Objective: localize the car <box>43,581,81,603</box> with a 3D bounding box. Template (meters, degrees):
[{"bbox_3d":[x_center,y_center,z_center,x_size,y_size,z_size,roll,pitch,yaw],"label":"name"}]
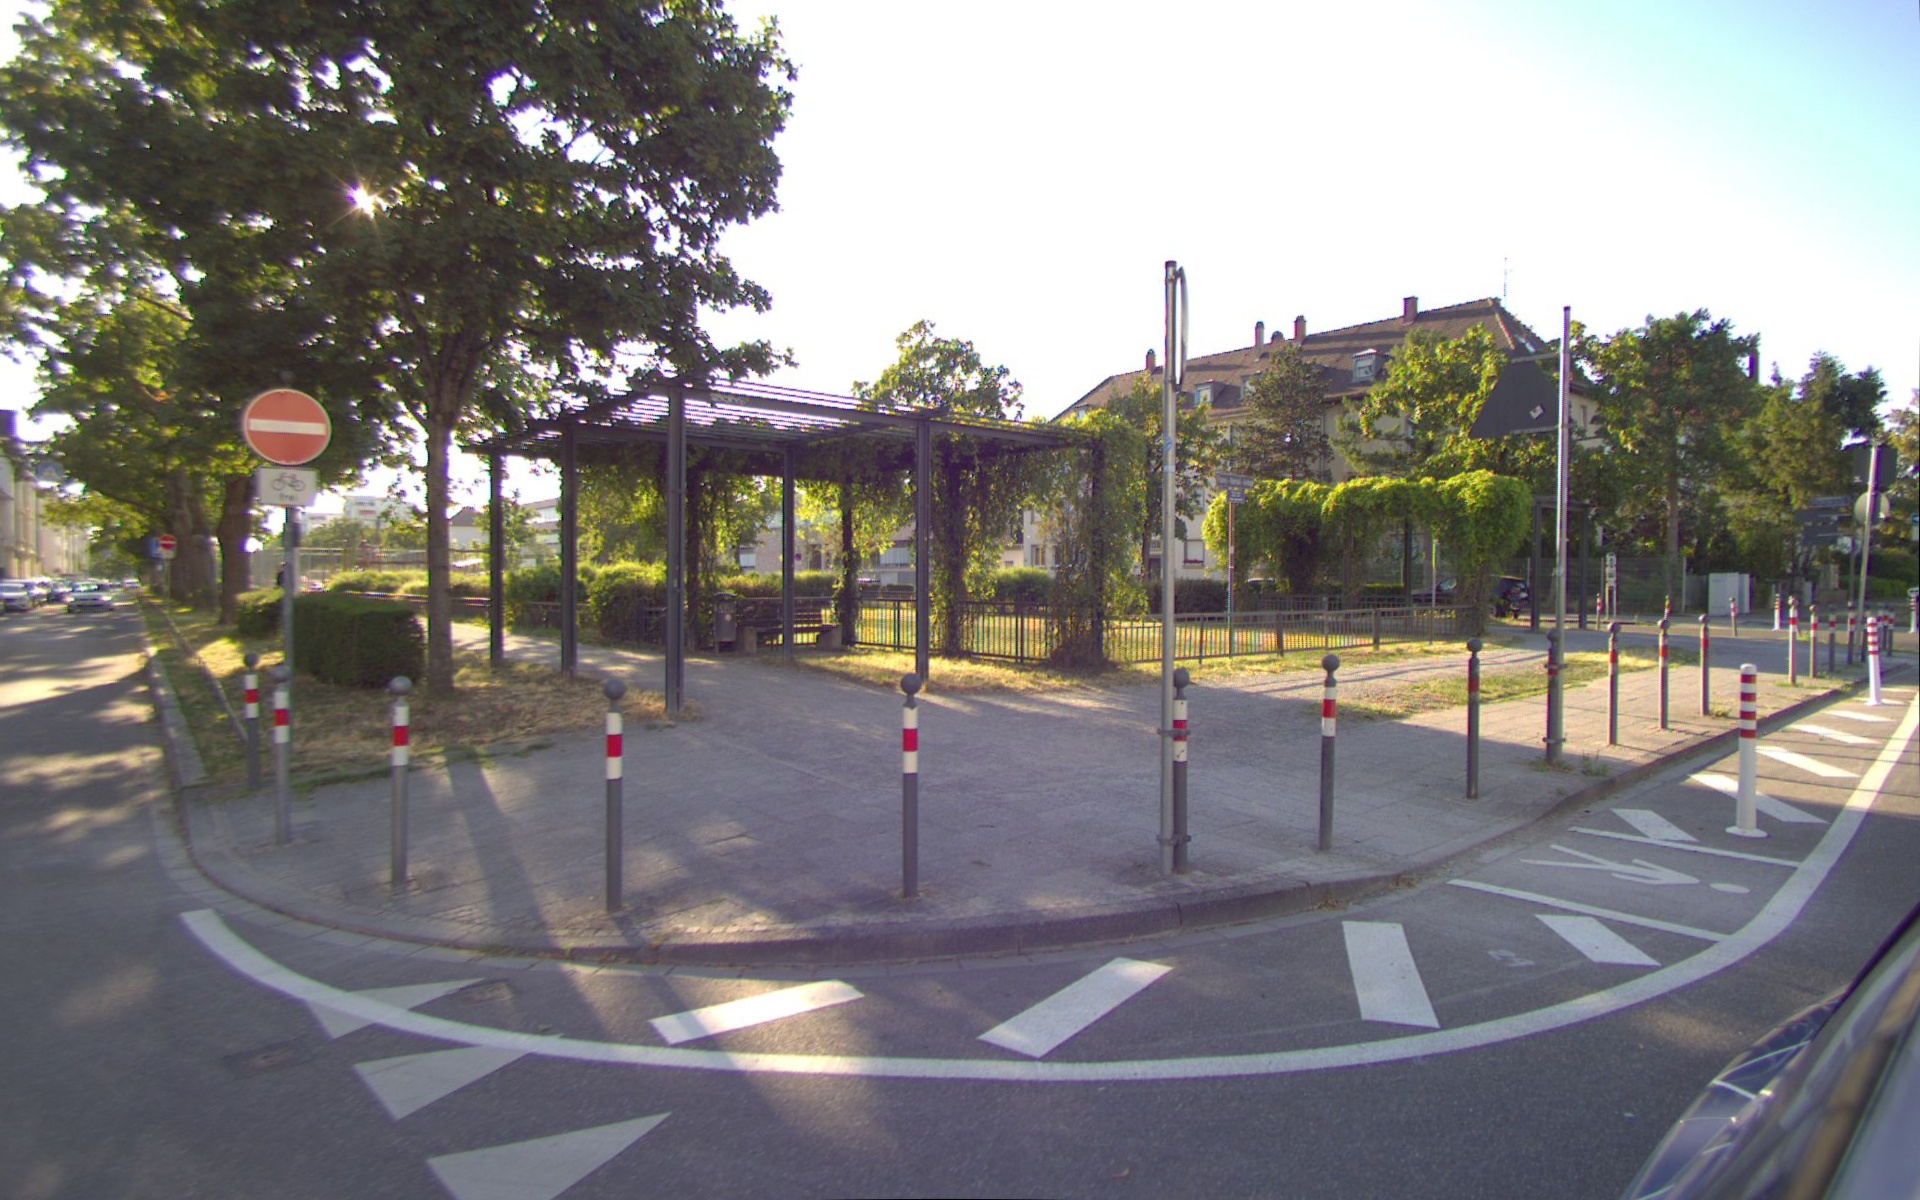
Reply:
[{"bbox_3d":[-63.129,-0.586,71.181,1.798,1.535,3.750,-1,2,-39],"label":"car"}]

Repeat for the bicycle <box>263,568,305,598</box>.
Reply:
[{"bbox_3d":[-29.162,-0.749,43.604,3.099,1.237,0.874,1,1,44],"label":"bicycle"}]

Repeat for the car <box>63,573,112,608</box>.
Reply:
[{"bbox_3d":[-42.811,-0.494,49.656,1.751,1.660,3.735,-1,2,-41],"label":"car"}]

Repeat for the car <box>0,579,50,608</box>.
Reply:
[{"bbox_3d":[-50.930,-0.374,55.169,1.798,1.535,3.750,-1,2,-39],"label":"car"}]

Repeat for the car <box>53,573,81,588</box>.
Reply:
[{"bbox_3d":[-92.287,-1.995,104.579,1.796,1.535,3.754,-1,2,-36],"label":"car"}]

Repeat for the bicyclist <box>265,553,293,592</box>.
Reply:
[{"bbox_3d":[-29.614,-1.202,44.016,0.862,1.668,0.848,1,1,44],"label":"bicyclist"}]

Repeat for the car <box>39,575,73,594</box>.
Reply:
[{"bbox_3d":[-77.991,-1.351,87.318,1.796,1.535,3.754,-1,2,-36],"label":"car"}]

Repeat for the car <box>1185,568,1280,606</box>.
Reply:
[{"bbox_3d":[11.968,-0.589,44.580,1.739,1.545,3.770,-2,2,-38],"label":"car"}]

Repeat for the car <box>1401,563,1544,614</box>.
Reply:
[{"bbox_3d":[18.245,-0.406,36.182,1.791,1.662,4.210,2,-1,-41],"label":"car"}]

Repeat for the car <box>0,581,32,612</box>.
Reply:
[{"bbox_3d":[-48.517,-0.183,51.397,1.798,1.535,3.750,-1,2,-39],"label":"car"}]
